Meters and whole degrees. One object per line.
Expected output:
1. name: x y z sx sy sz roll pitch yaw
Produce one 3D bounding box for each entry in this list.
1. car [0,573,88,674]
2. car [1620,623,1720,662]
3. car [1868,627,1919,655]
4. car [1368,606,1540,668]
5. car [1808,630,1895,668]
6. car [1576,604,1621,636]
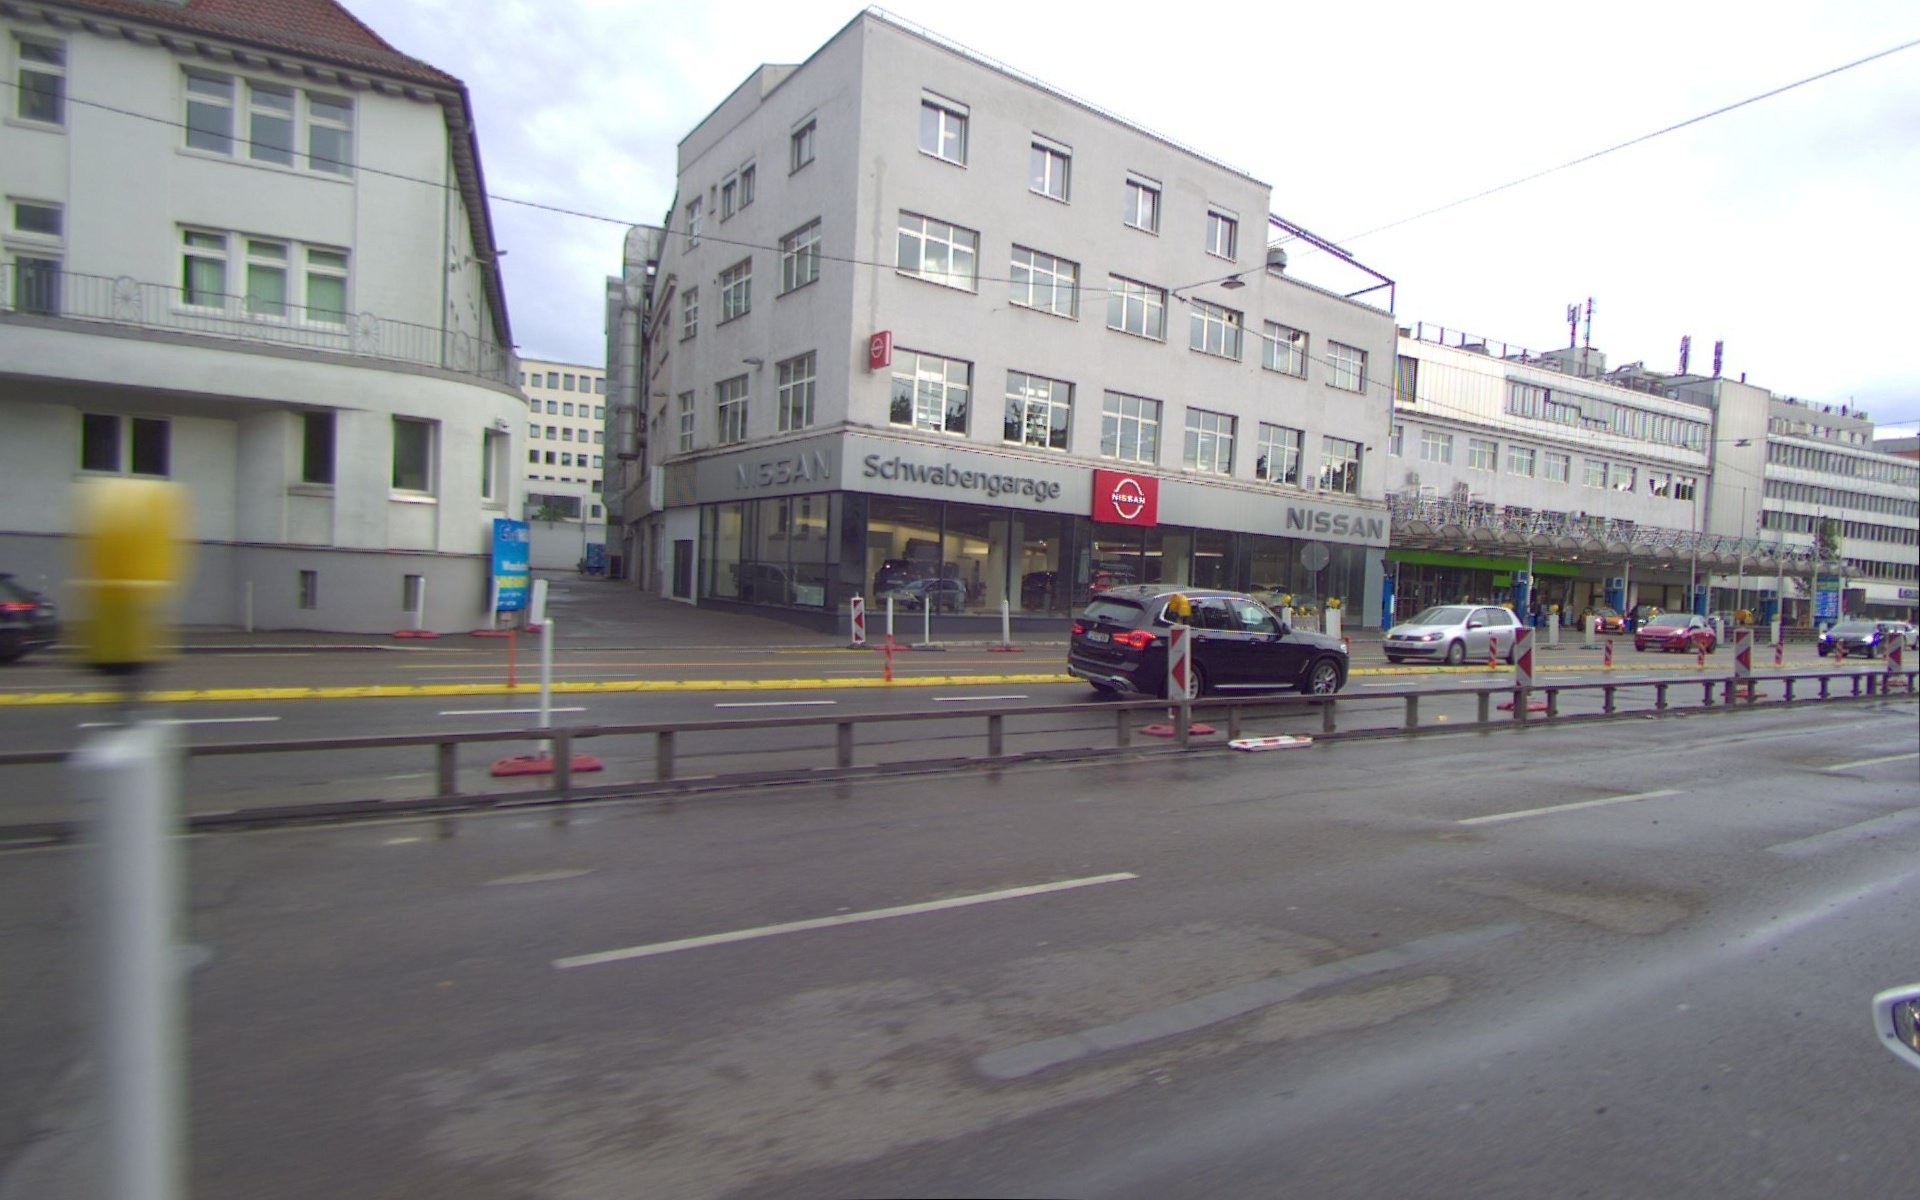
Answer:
1. car: -15.379 0.294 14.261 4.197 1.424 1.755 1 0 -28
2. car: 27.270 1.594 38.568 3.956 1.400 1.769 1 0 -32
3. car: 50.227 2.162 53.601 3.959 1.400 1.768 1 0 -34
4. car: 12.201 0.869 24.751 4.407 1.400 1.769 1 0 -32
5. car: 36.343 1.956 40.924 3.960 1.400 1.768 1 0 -35
6. car: 37.883 1.135 59.648 1.772 1.677 3.994 4 2 27
